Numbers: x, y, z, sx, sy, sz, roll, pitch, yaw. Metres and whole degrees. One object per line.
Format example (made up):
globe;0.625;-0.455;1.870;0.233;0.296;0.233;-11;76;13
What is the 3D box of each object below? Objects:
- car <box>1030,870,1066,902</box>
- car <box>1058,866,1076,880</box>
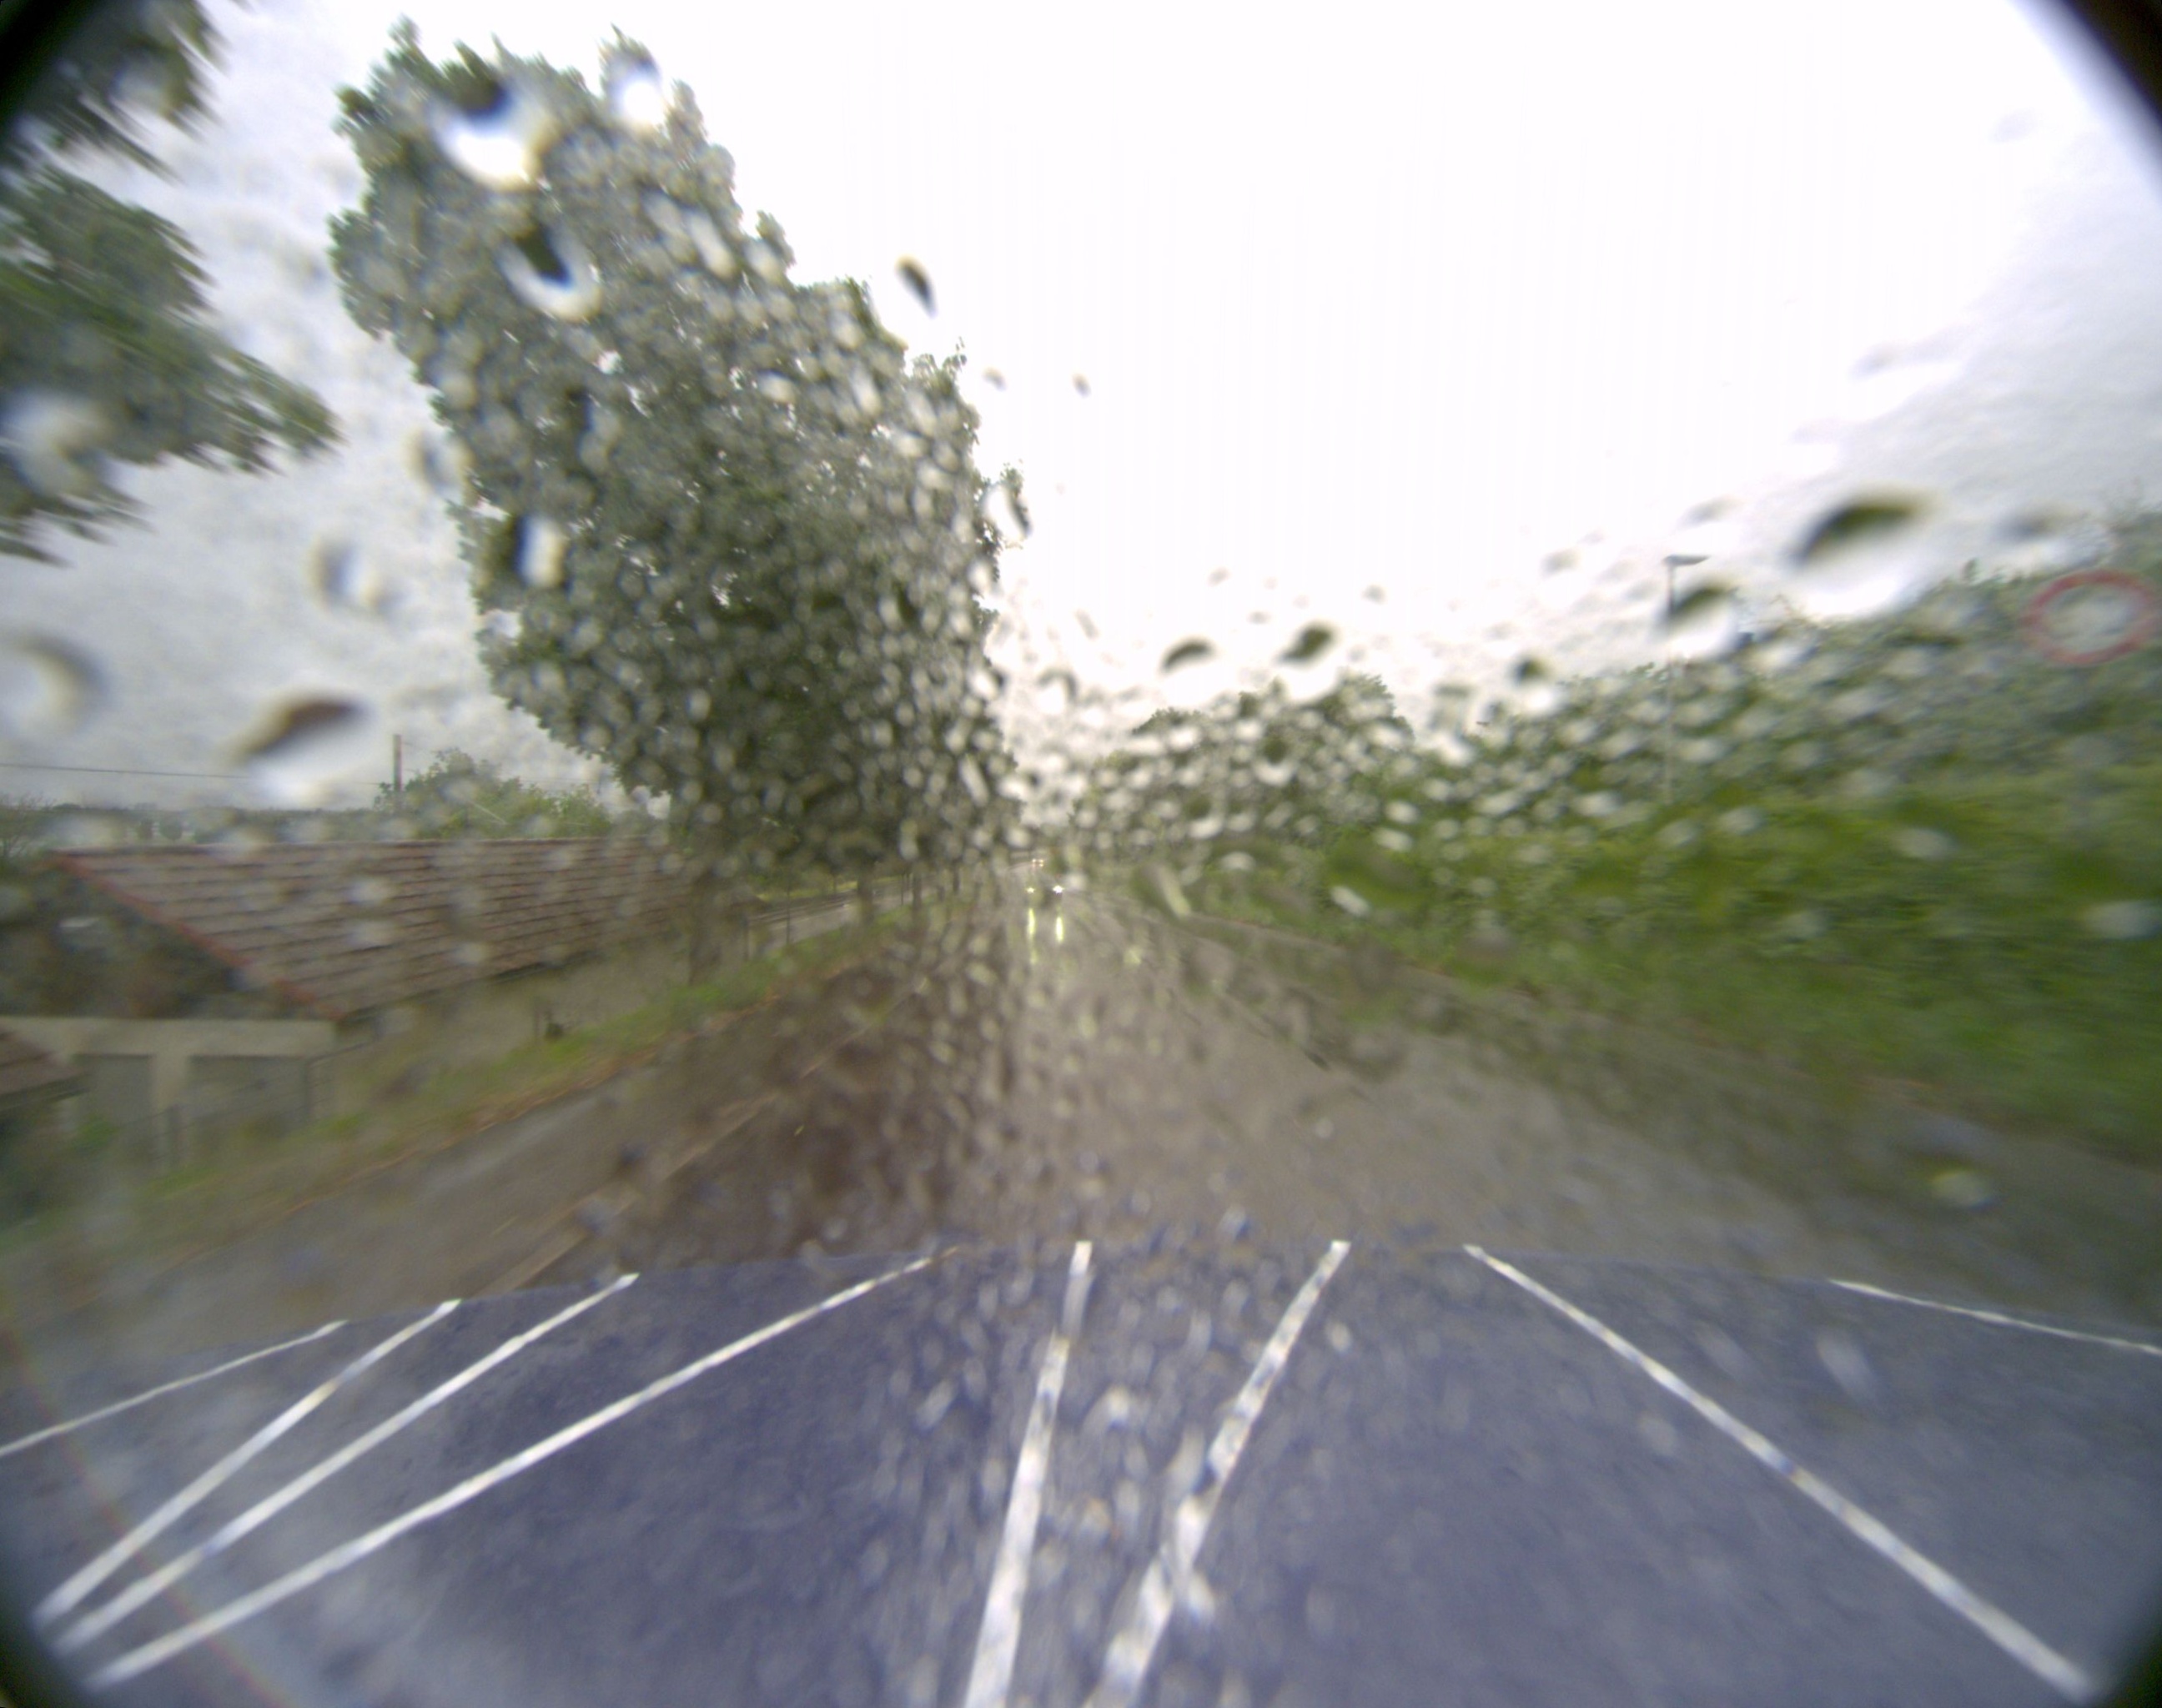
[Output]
car;-1.714;1.655;40.243;1.765;1.477;3.790;1;0;-2
car;-1.473;2.017;79.980;1.786;1.495;4.000;0;-2;-3
